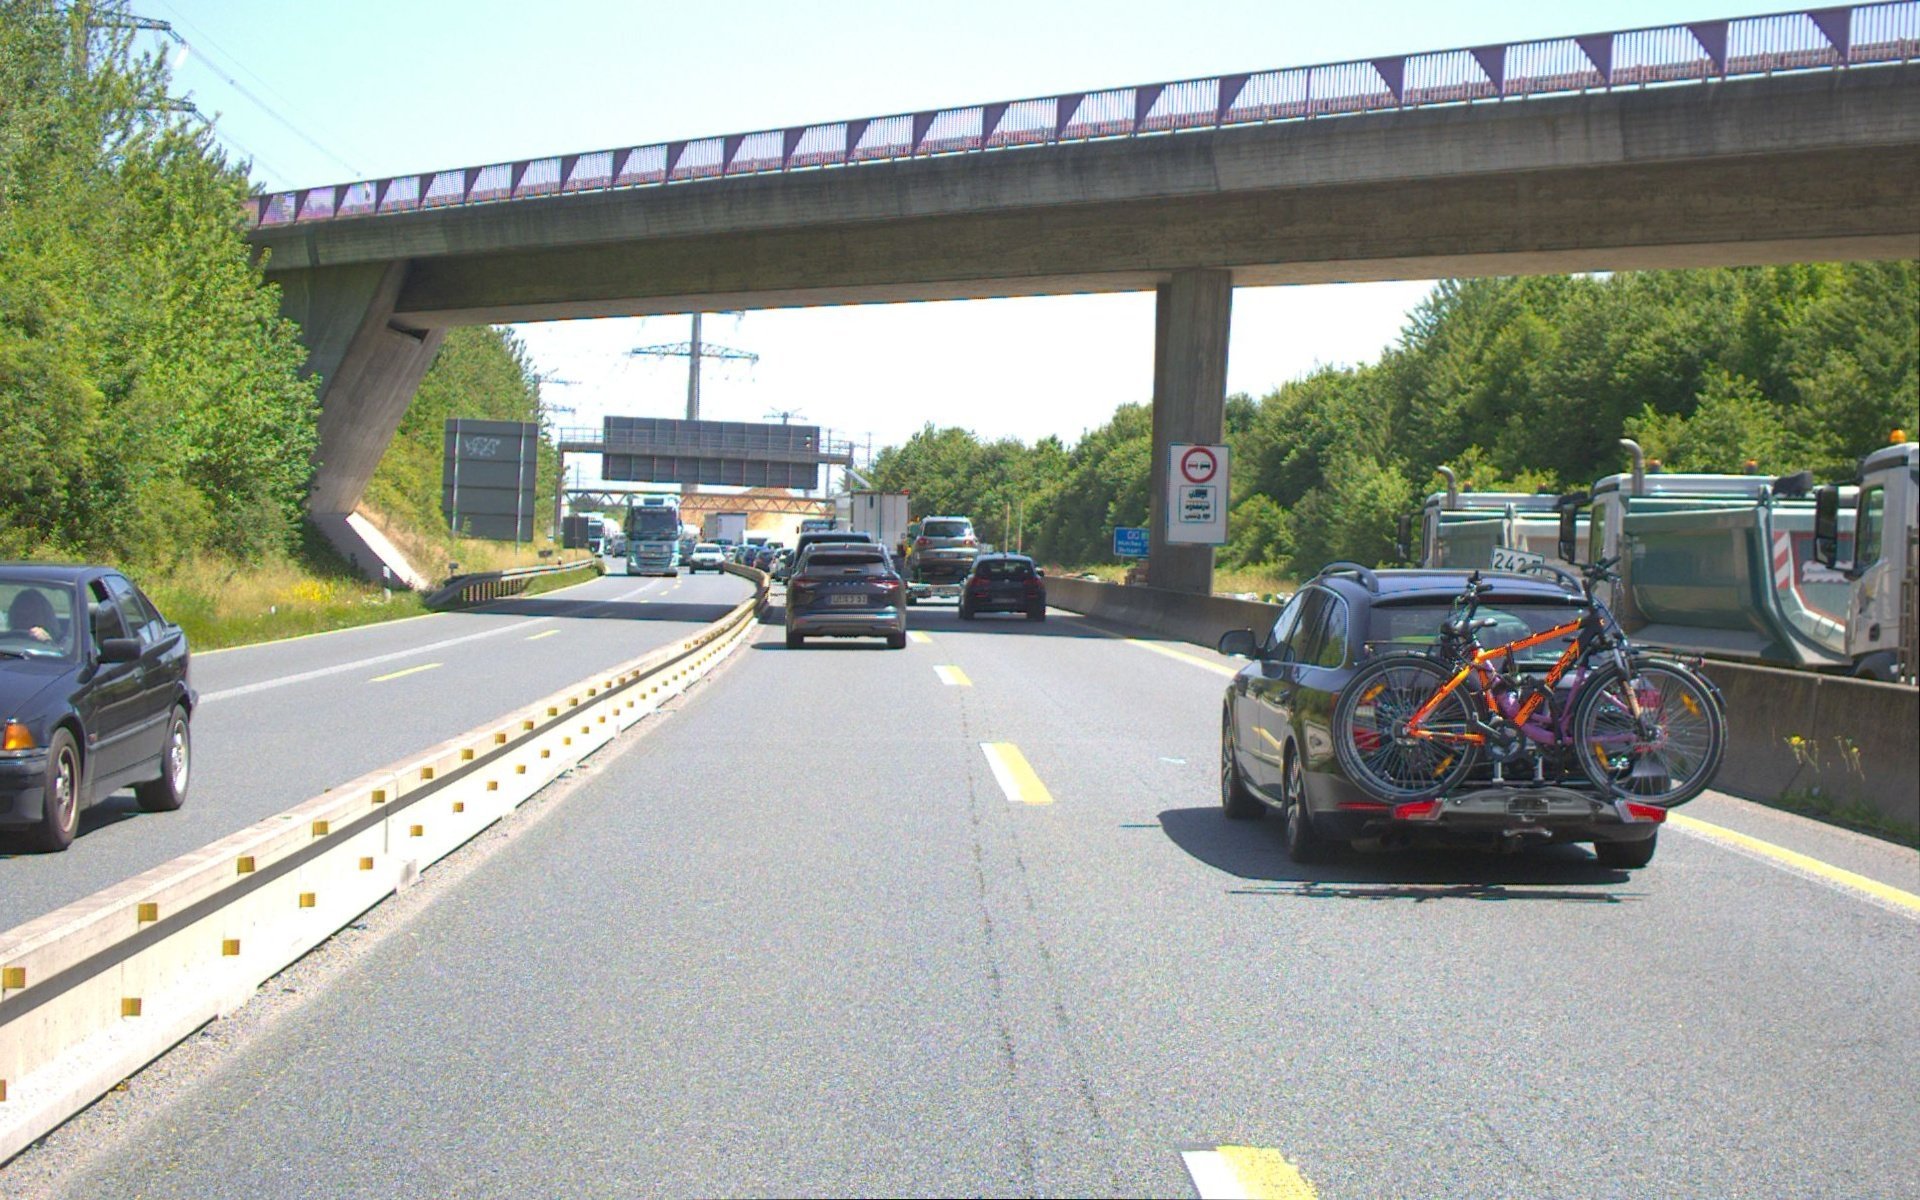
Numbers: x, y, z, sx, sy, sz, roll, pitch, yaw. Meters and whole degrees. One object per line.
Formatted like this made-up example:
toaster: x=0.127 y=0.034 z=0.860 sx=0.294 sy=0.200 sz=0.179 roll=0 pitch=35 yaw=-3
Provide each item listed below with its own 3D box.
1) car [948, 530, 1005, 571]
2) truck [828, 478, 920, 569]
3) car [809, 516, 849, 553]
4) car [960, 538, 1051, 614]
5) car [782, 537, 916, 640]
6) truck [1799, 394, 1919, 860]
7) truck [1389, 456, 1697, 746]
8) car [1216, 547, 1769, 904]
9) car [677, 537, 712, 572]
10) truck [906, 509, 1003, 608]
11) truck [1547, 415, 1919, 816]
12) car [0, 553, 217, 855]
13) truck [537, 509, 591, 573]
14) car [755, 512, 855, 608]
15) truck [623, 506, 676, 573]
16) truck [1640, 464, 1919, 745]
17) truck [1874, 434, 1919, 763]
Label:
car: x=0.637 y=-1.994 z=138.190 sx=1.899 sy=1.580 sz=4.277 roll=1 pitch=1 yaw=-5
truck: x=-3.873 y=-3.360 z=152.199 sx=3.292 sy=3.832 sz=10.112 roll=1 pitch=1 yaw=-6
car: x=-7.154 y=-3.567 z=187.643 sx=1.899 sy=1.962 sz=4.277 roll=1 pitch=1 yaw=-6
car: x=0.965 y=-0.539 z=75.191 sx=1.899 sy=1.580 sz=4.276 roll=1 pitch=1 yaw=0
car: x=-1.676 y=-0.197 z=53.231 sx=1.899 sy=1.500 sz=4.276 roll=1 pitch=1 yaw=0
truck: x=9.101 y=0.253 z=26.587 sx=2.687 sy=3.748 sz=9.326 roll=1 pitch=1 yaw=-1
truck: x=8.363 y=-0.062 z=50.532 sx=2.687 sy=3.830 sz=9.326 roll=1 pitch=1 yaw=-1
car: x=2.455 y=0.514 z=17.135 sx=1.899 sy=1.485 sz=4.948 roll=1 pitch=1 yaw=-1
car: x=-14.269 y=-2.445 z=184.522 sx=1.762 sy=1.831 sz=4.001 roll=1 pitch=0 yaw=-5
truck: x=-0.210 y=-1.179 z=94.275 sx=2.405 sy=2.549 sz=7.501 roll=1 pitch=1 yaw=-2
truck: x=8.755 y=0.081 z=37.950 sx=2.687 sy=3.842 sz=9.326 roll=1 pitch=1 yaw=-1
car: x=-5.120 y=0.450 z=17.917 sx=1.673 sy=1.388 sz=4.071 roll=1 pitch=1 yaw=-1
truck: x=-20.226 y=-3.022 z=175.835 sx=2.508 sy=3.175 sz=10.112 roll=1 pitch=1 yaw=-6
car: x=-3.270 y=-0.853 z=73.223 sx=1.899 sy=1.962 sz=4.276 roll=1 pitch=1 yaw=0
truck: x=-15.493 y=-3.004 z=171.267 sx=2.508 sy=3.175 sz=10.112 roll=1 pitch=1 yaw=-6
truck: x=11.965 y=-0.009 z=48.248 sx=2.687 sy=3.545 sz=9.326 roll=1 pitch=1 yaw=-2
truck: x=12.269 y=0.058 z=35.881 sx=2.687 sy=3.714 sz=9.326 roll=1 pitch=1 yaw=-2
